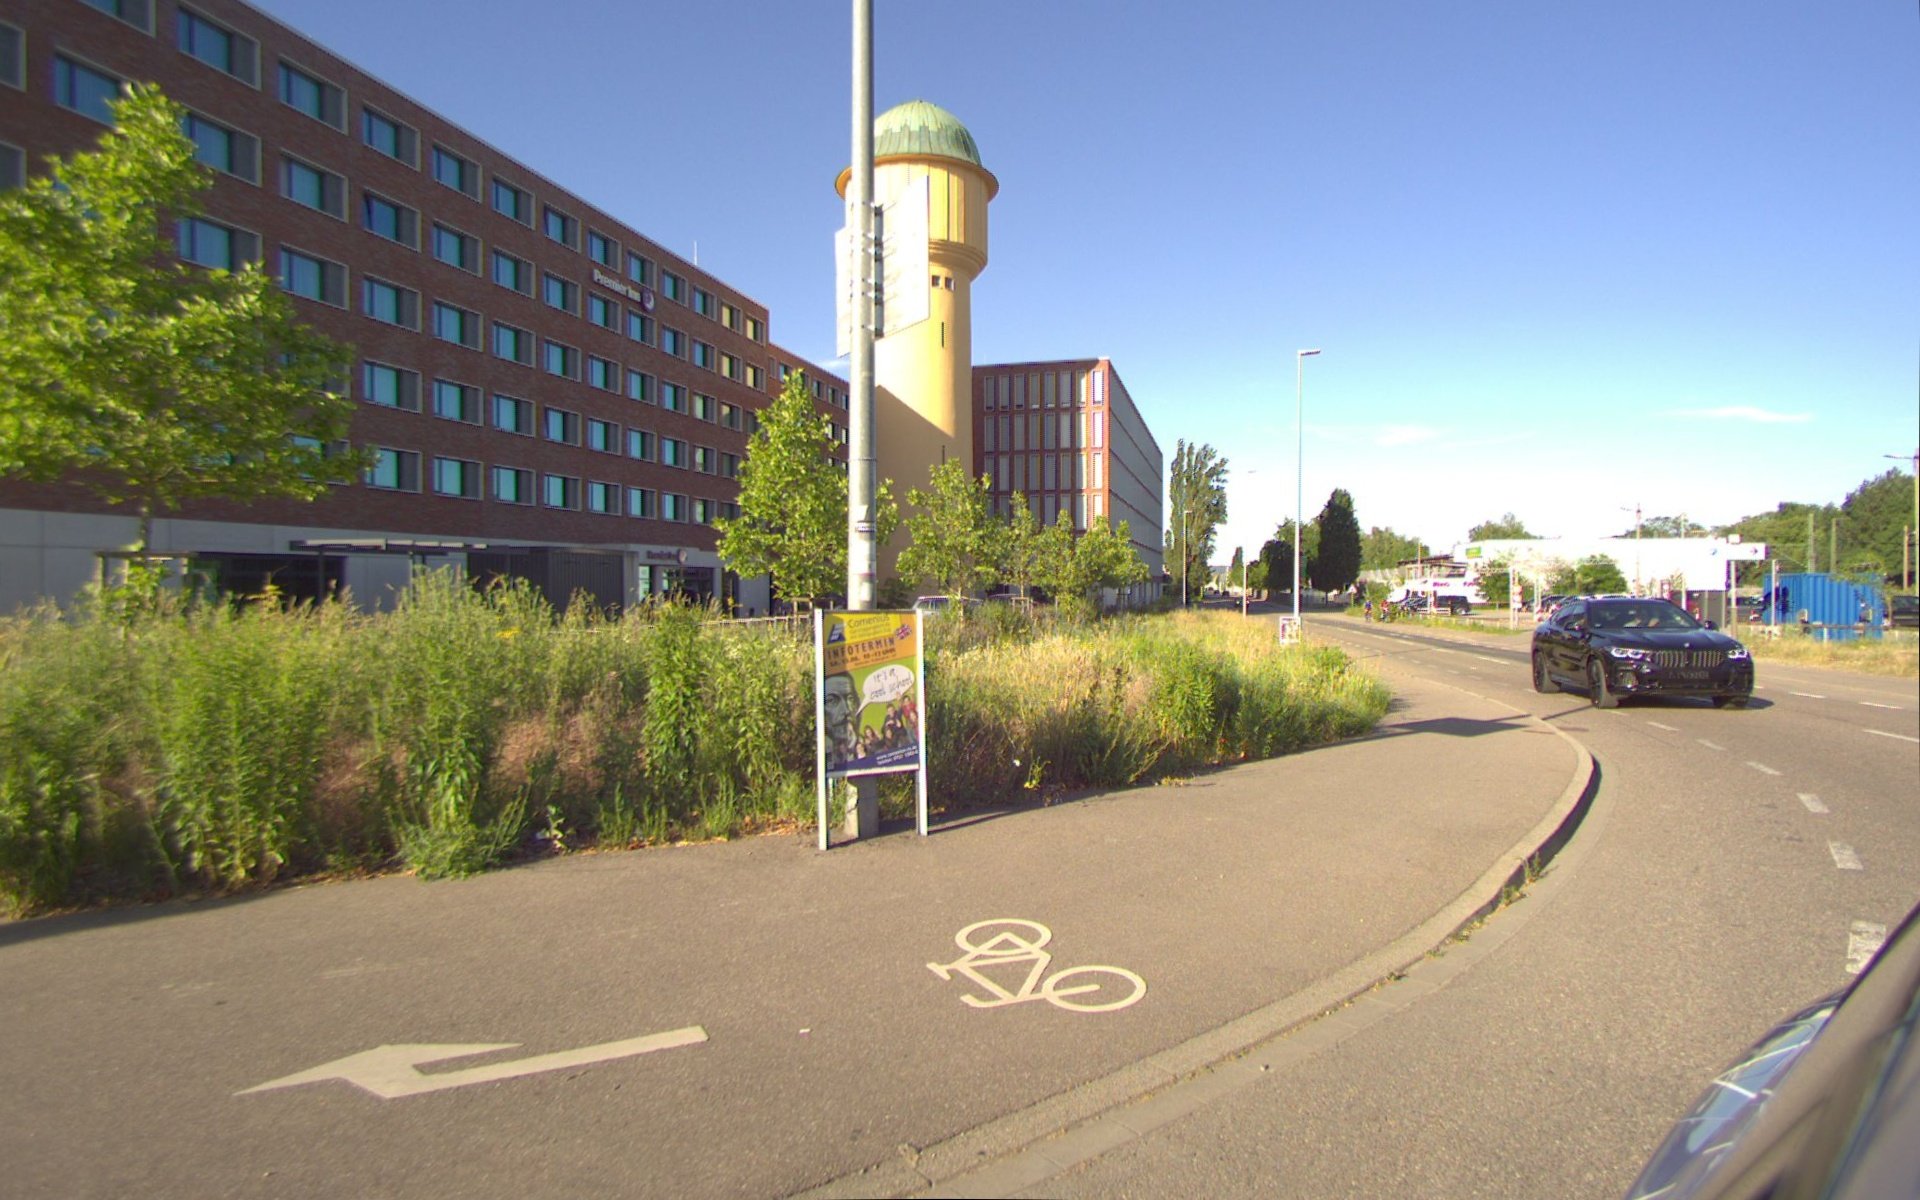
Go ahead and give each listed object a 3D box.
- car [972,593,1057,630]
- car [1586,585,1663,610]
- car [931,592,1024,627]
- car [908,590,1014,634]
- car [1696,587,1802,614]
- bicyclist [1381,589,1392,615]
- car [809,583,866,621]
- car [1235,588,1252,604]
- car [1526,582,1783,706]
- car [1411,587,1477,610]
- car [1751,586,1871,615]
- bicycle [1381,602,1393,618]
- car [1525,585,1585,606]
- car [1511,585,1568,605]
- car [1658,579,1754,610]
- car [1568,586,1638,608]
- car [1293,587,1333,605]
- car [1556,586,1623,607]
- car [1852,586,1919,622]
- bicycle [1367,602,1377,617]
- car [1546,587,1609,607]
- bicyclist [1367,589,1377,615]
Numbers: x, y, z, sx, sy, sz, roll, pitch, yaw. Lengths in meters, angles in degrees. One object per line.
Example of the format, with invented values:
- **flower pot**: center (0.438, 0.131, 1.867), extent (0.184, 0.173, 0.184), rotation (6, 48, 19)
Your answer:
- **car**: center (3.101, 0.627, 57.135), extent (4.469, 2.039, 1.990), rotation (0, 0, 16)
- **car**: center (49.308, -0.172, 75.189), extent (4.377, 1.801, 1.863), rotation (-1, 0, 11)
- **car**: center (0.836, 0.447, 46.791), extent (3.946, 1.569, 1.824), rotation (0, 0, 18)
- **car**: center (0.062, 0.516, 43.744), extent (4.270, 1.851, 1.991), rotation (0, 0, 15)
- **car**: center (45.376, 0.033, 58.309), extent (4.390, 1.462, 1.910), rotation (-2, 0, 20)
- **bicyclist**: center (30.732, 0.141, 72.895), extent (0.560, 1.895, 0.850), rotation (-1, 0, 13)
- **car**: center (-7.565, 0.103, 62.993), extent (1.842, 2.292, 4.915), rotation (-1, 0, 15)
- **car**: center (37.145, -0.503, 132.593), extent (1.970, 2.039, 3.984), rotation (-1, 0, 13)
- **car**: center (11.157, 0.622, 16.731), extent (2.019, 1.736, 4.727), rotation (-1, 0, 16)
- **car**: center (40.139, -0.097, 83.974), extent (4.585, 1.763, 1.795), rotation (-2, 0, 13)
- **car**: center (44.335, 0.027, 52.830), extent (4.378, 1.395, 1.863), rotation (-2, 0, 12)
- **bicycle**: center (30.750, 0.711, 72.926), extent (0.550, 1.078, 1.716), rotation (-1, 0, 14)
- **car**: center (51.967, -0.384, 88.434), extent (4.234, 1.645, 1.788), rotation (-2, 0, -6)
- **car**: center (52.099, -0.464, 91.032), extent (4.218, 1.629, 1.746), rotation (-2, 0, -6)
- **car**: center (46.540, -0.313, 63.275), extent (4.391, 1.799, 1.857), rotation (-2, 0, 20)
- **car**: center (49.260, -0.237, 77.610), extent (4.091, 1.504, 1.756), rotation (-2, 0, 10)
- **car**: center (54.448, -0.560, 156.225), extent (5.688, 2.736, 1.991), rotation (-1, 0, 14)
- **car**: center (49.758, -0.254, 80.064), extent (4.089, 1.506, 1.761), rotation (-2, 0, 10)
- **car**: center (43.152, 0.138, 45.330), extent (4.378, 1.533, 1.863), rotation (-2, 0, 12)
- **bicycle**: center (30.556, 0.687, 75.062), extent (0.496, 1.139, 1.558), rotation (-1, 0, 14)
- **car**: center (50.425, -0.271, 82.738), extent (3.947, 1.506, 1.761), rotation (-2, 0, 10)
- **bicyclist**: center (30.565, 0.127, 75.067), extent (0.560, 1.895, 0.850), rotation (-1, 0, 13)
